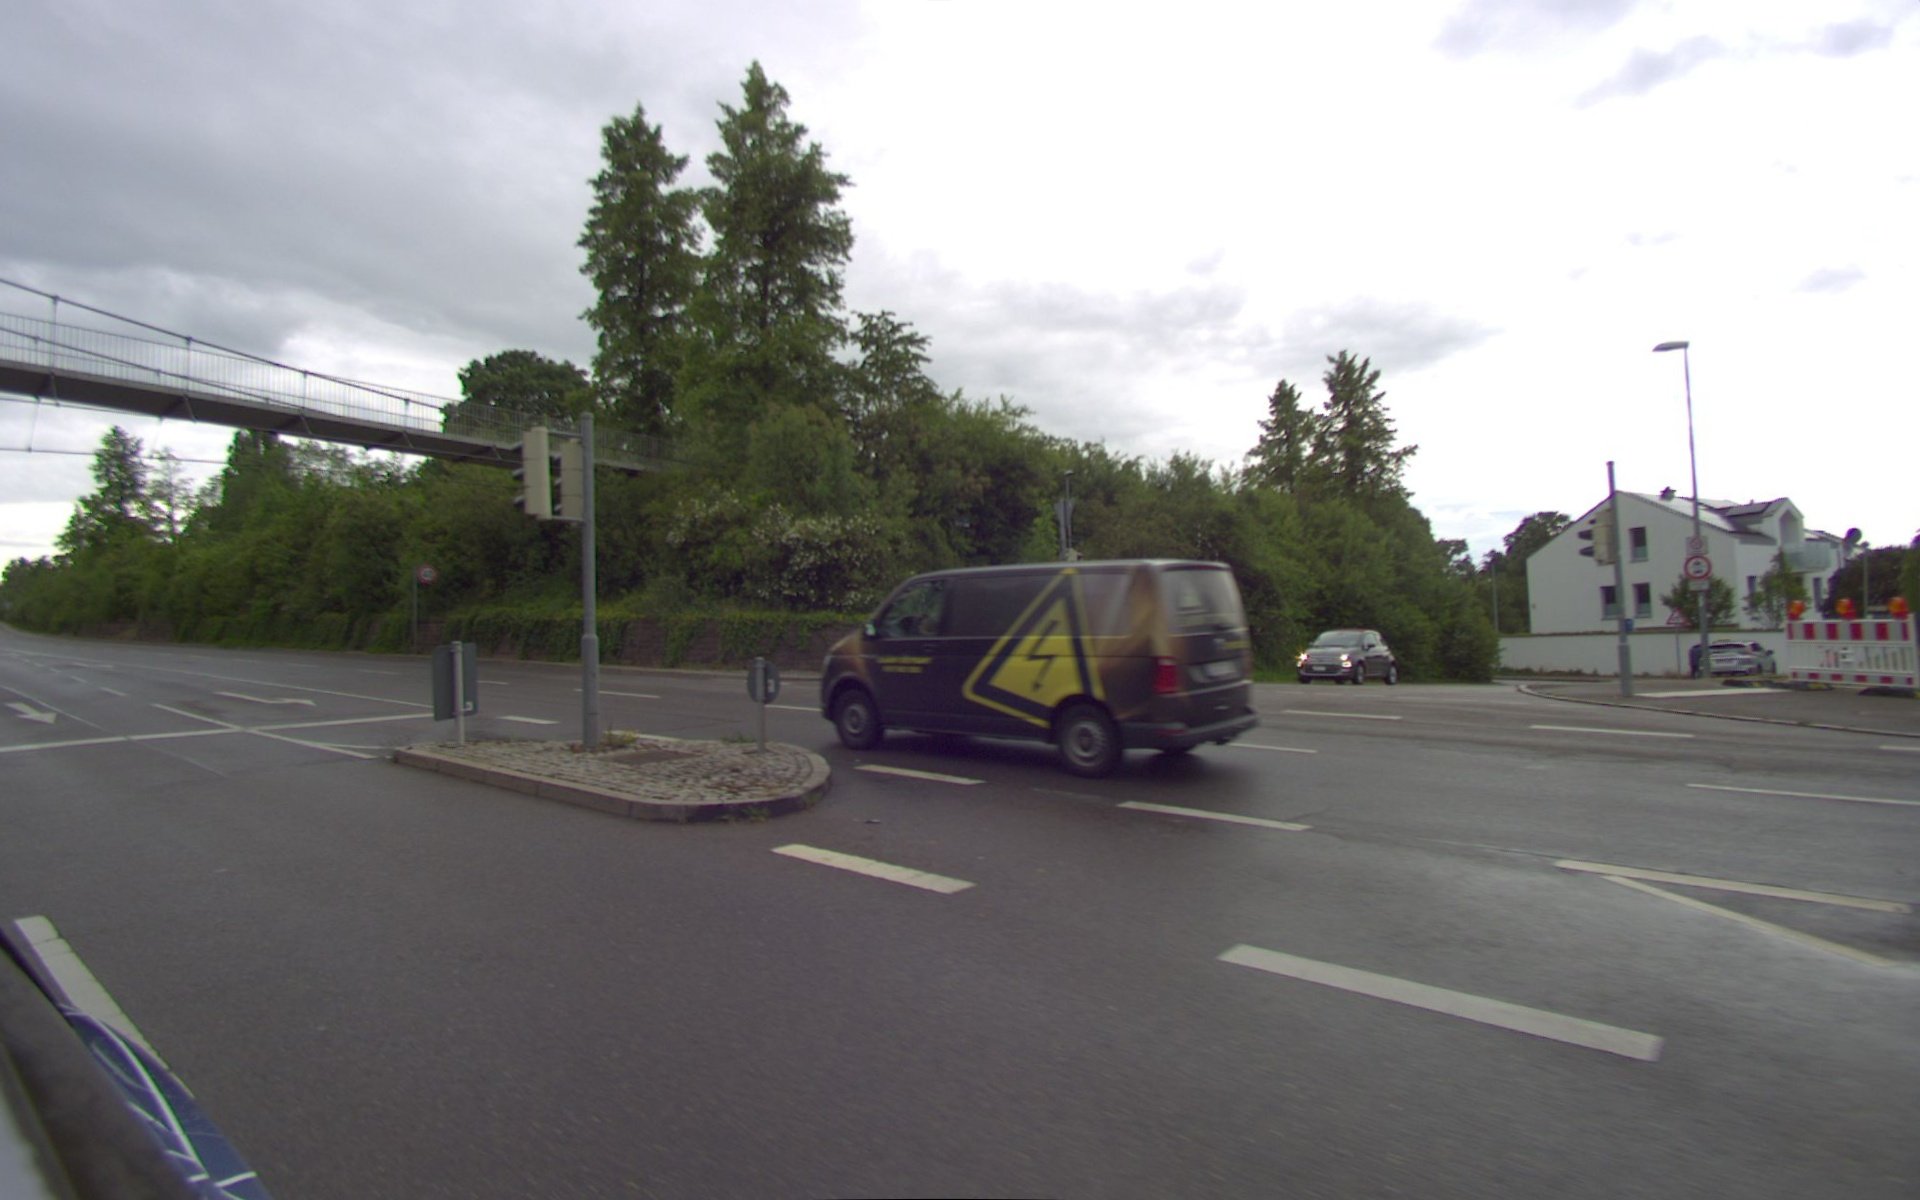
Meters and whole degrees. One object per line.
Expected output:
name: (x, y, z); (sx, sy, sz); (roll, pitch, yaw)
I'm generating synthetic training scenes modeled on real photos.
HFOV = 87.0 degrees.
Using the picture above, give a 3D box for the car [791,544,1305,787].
car: (0.687, 0.568, 10.477); (5.091, 1.934, 1.993); (-1, -1, 40)

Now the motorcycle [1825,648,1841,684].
motorcycle: (29.436, 2.219, 34.125); (0.345, 1.152, 1.291); (-1, -1, 43)

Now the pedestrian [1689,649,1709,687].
pedestrian: (28.838, 2.647, 39.506); (0.548, 1.450, 0.474); (-2, -2, 43)

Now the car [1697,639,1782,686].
car: (29.836, 2.359, 38.685); (3.939, 1.716, 1.896); (2, -5, -43)
